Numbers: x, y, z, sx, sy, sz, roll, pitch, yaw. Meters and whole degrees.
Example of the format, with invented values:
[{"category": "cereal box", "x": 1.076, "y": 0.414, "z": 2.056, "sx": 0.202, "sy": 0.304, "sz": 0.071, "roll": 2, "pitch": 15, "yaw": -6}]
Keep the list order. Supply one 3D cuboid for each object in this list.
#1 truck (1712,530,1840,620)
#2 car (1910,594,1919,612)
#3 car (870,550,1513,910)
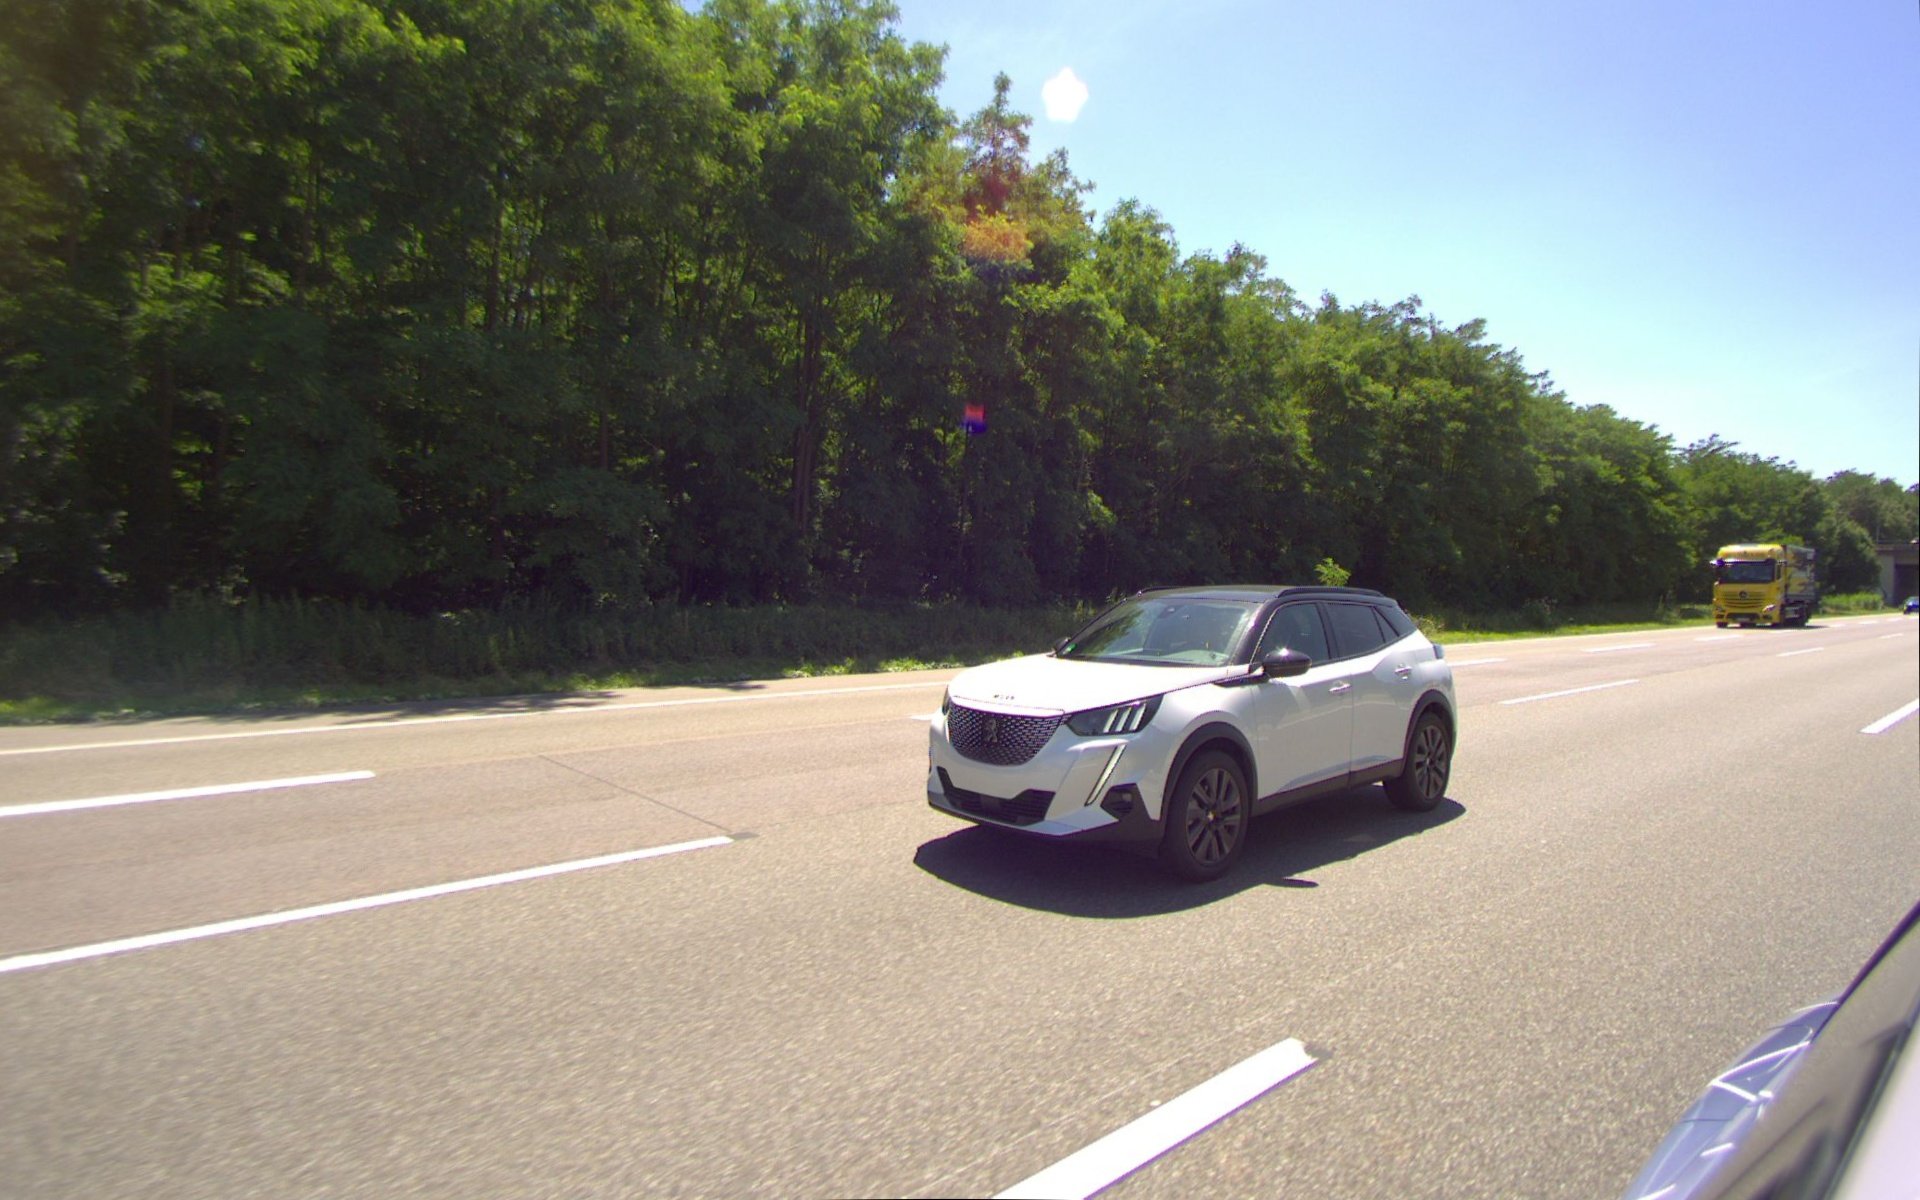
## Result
[{"category": "truck", "x": 41.160, "y": -1.179, "z": 50.868, "sx": 10.787, "sy": 4.088, "sz": 2.980, "roll": -1, "pitch": -1, "yaw": -40}, {"category": "car", "x": 85.264, "y": 0.241, "z": 89.146, "sx": 4.128, "sy": 1.575, "sz": 1.873, "roll": -1, "pitch": 0, "yaw": -41}, {"category": "car", "x": 1.833, "y": 0.554, "z": 6.836, "sx": 4.725, "sy": 1.628, "sz": 1.830, "roll": -1, "pitch": 1, "yaw": -41}]
